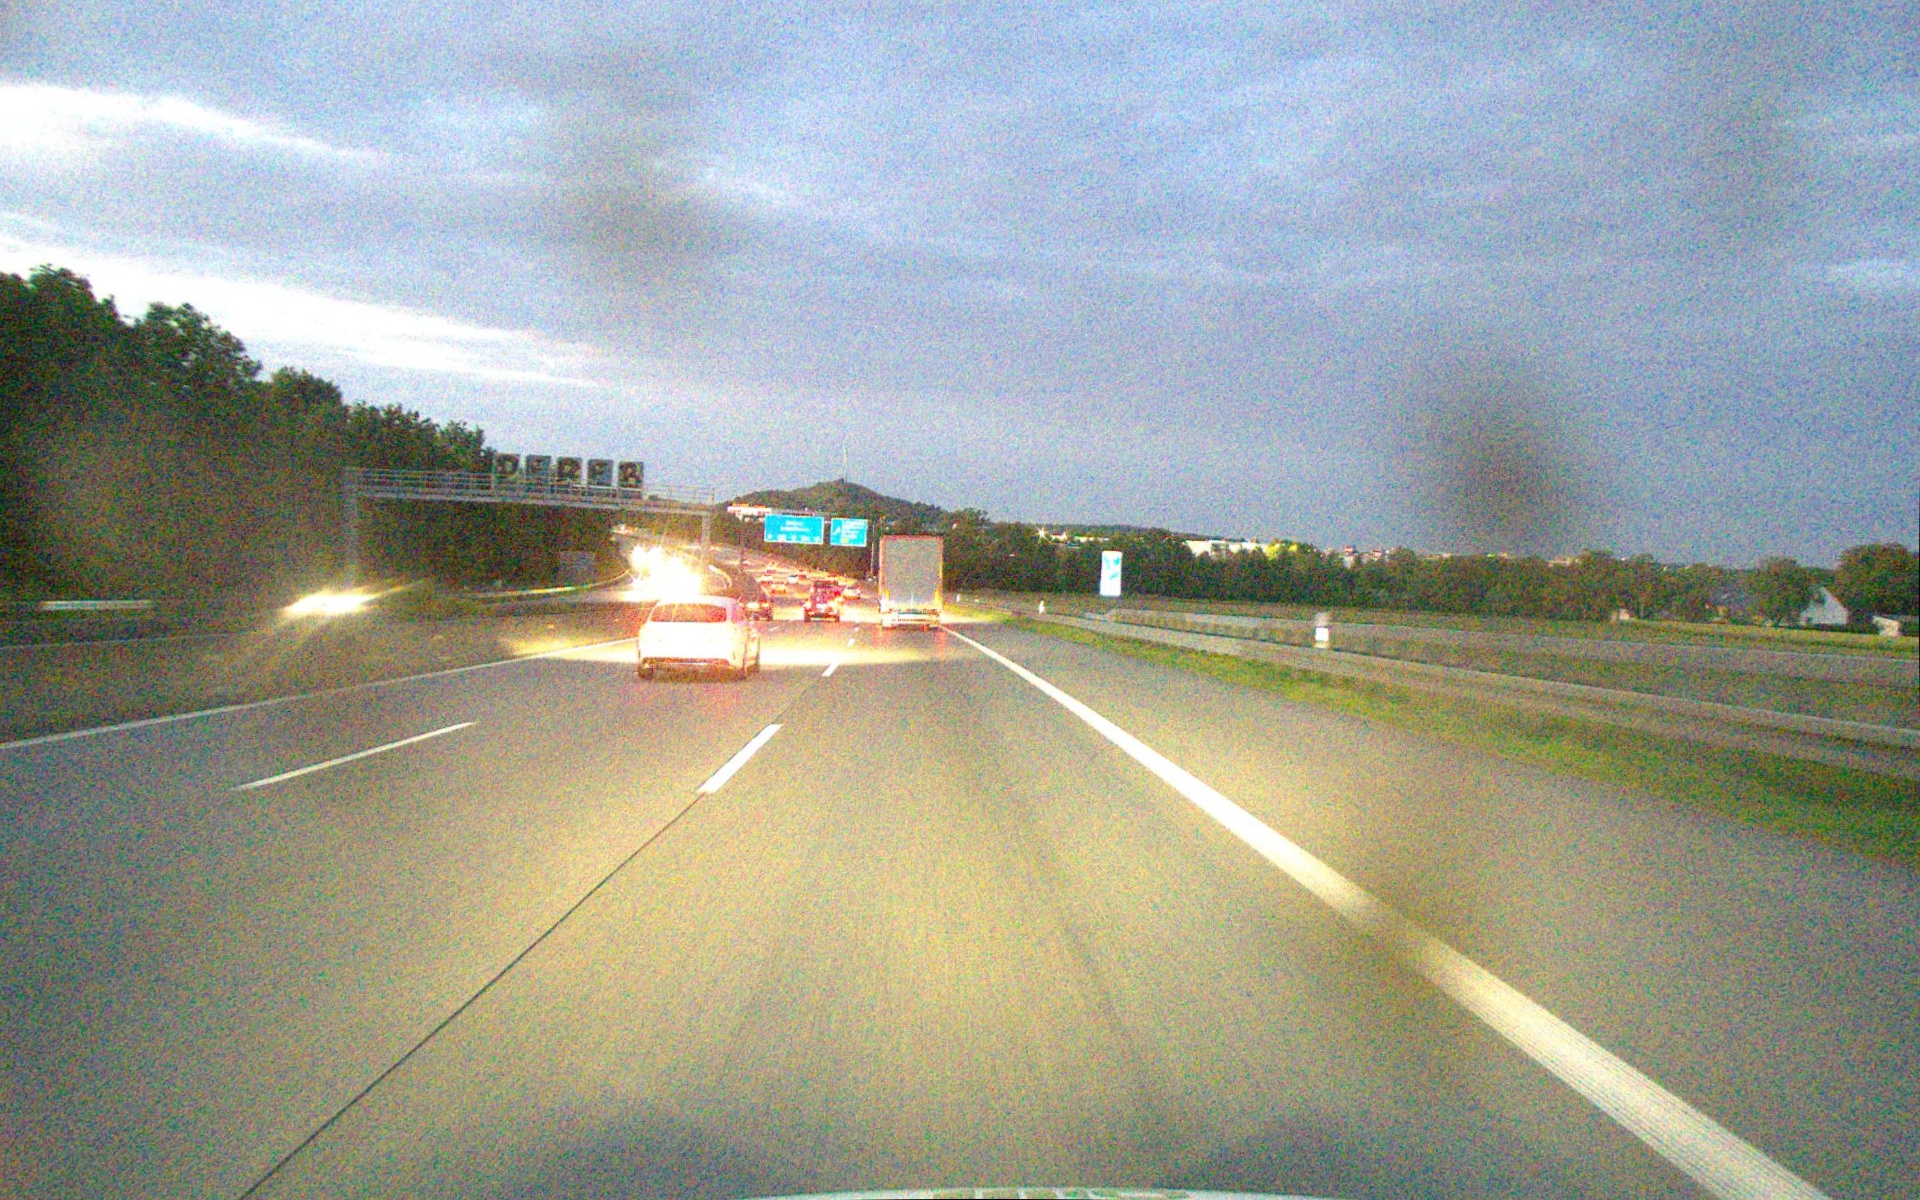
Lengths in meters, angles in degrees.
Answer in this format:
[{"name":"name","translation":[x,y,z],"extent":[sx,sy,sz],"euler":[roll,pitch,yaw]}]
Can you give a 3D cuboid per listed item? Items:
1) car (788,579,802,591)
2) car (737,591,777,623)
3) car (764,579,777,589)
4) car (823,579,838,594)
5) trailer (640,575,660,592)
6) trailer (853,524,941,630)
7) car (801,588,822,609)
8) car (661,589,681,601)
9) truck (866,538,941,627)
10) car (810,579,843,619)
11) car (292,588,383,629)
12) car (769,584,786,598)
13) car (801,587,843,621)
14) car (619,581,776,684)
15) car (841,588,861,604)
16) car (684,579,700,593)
[{"name":"car","translation":[-25.115,-2.263,251.653],"extent":[1.957,1.650,3.991],"euler":[1,0,-9]},{"name":"car","translation":[-10.484,0.360,85.674],"extent":[1.727,1.602,4.574],"euler":[1,0,-3]},{"name":"car","translation":[-29.321,-2.464,255.672],"extent":[1.956,1.494,3.993],"euler":[1,0,-7]},{"name":"car","translation":[-18.967,-1.961,242.174],"extent":[1.956,2.013,3.993],"euler":[1,0,-8]},{"name":"trailer","translation":[-37.727,-2.009,201.359],"extent":[1.875,2.037,4.237],"euler":[3,0,-4]},{"name":"trailer","translation":[-2.619,-0.863,74.154],"extent":[3.478,4.188,15.060],"euler":[1,0,-1]},{"name":"car","translation":[-14.924,-0.116,165.933],"extent":[1.956,2.049,3.993],"euler":[1,0,-8]},{"name":"car","translation":[-32.776,-0.546,187.876],"extent":[1.656,1.378,4.894],"euler":[1,0,-4]},{"name":"truck","translation":[-2.704,-0.807,81.273],"extent":[3.478,4.163,6.150],"euler":[1,-1,-1]},{"name":"car","translation":[-8.481,-0.044,105.300],"extent":[1.954,2.422,3.998],"euler":[1,0,-3]},{"name":"car","translation":[-25.366,0.344,67.589],"extent":[1.953,1.560,5.004],"euler":[1,0,-2]},{"name":"car","translation":[-22.124,-1.063,200.218],"extent":[1.955,1.650,3.995],"euler":[1,0,-6]},{"name":"car","translation":[-7.158,0.208,86.010],"extent":[2.024,1.715,4.573],"euler":[1,0,-4]},{"name":"car","translation":[-4.581,0.534,29.575],"extent":[1.867,1.642,4.804],"euler":[1,0,2]},{"name":"car","translation":[-11.516,-0.401,174.571],"extent":[1.955,1.561,3.995],"euler":[1,0,-6]},{"name":"car","translation":[-38.203,-2.036,235.845],"extent":[1.876,1.900,6.008],"euler":[1,0,-5]}]
